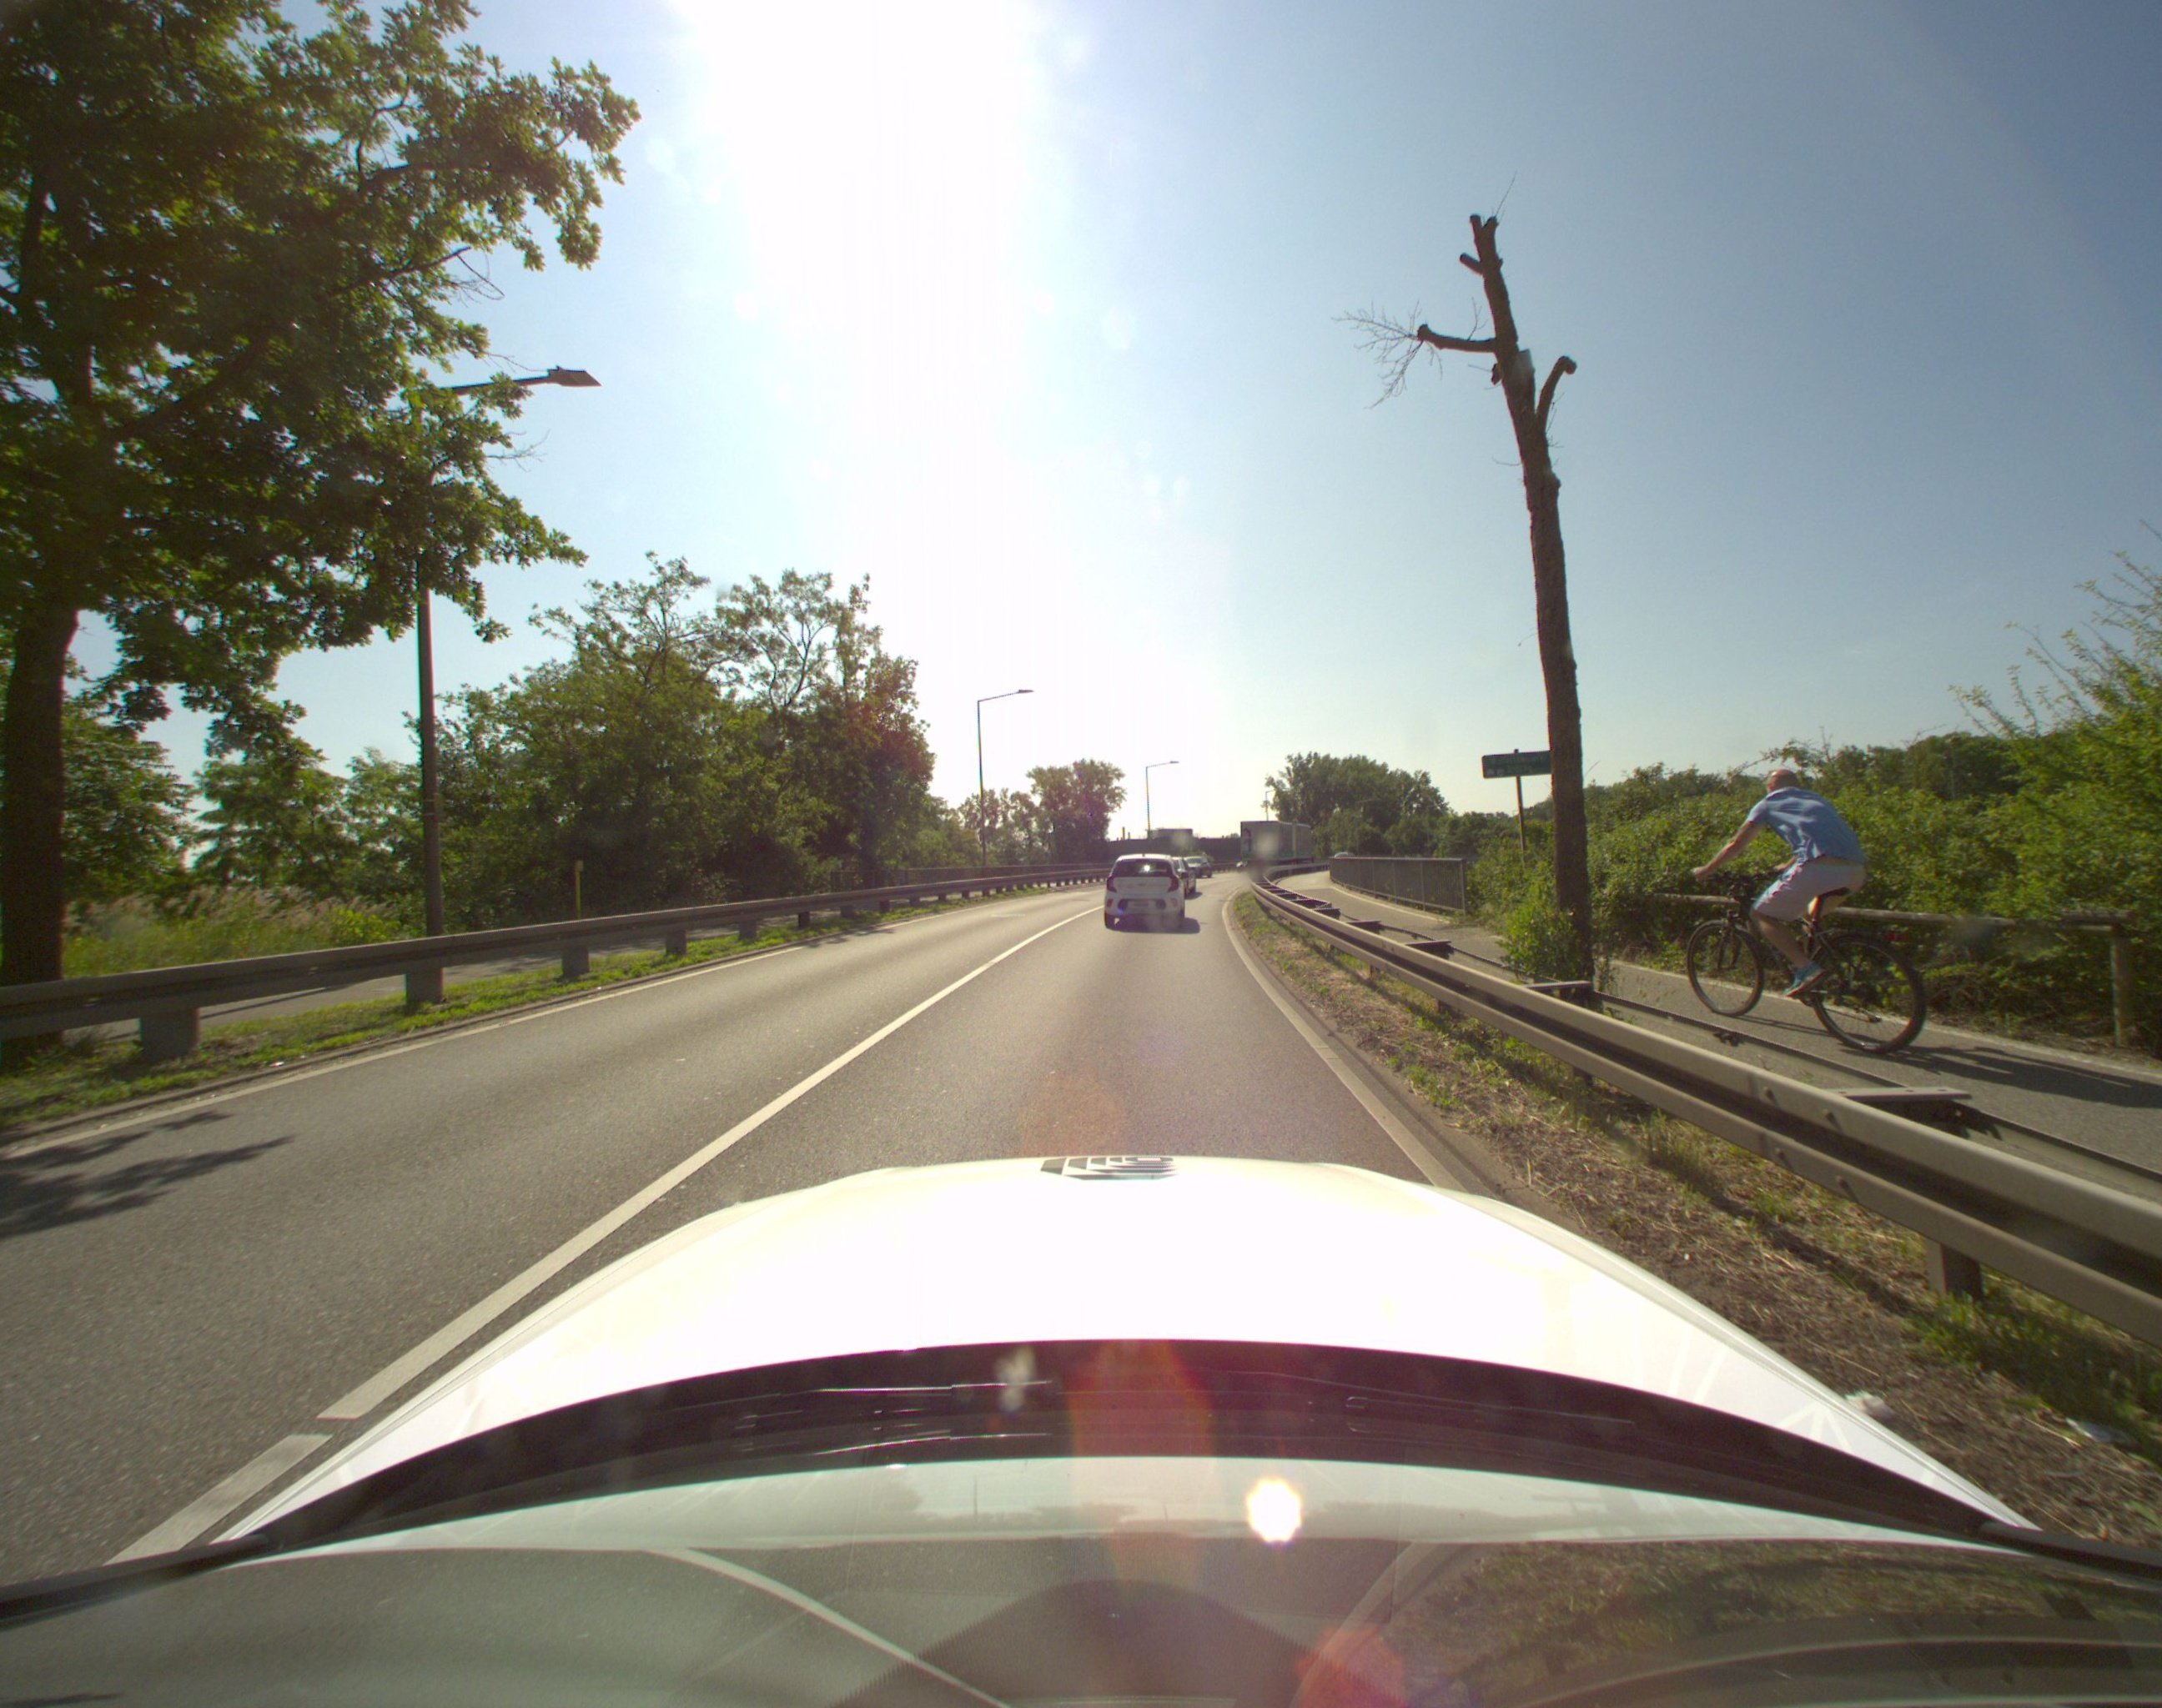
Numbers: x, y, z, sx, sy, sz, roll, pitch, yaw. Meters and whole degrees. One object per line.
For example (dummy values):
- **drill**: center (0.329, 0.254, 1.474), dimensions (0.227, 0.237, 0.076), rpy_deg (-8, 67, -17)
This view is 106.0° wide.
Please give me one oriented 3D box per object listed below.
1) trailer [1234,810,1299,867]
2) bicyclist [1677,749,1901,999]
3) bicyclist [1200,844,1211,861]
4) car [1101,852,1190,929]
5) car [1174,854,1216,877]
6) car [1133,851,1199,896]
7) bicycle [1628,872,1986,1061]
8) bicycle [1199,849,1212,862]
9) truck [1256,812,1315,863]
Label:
- **trailer**: center (13.201, -1.127, 57.387), dimensions (3.196, 3.757, 7.867), rpy_deg (0, 2, 22)
- **bicyclist**: center (4.731, 0.131, 5.505), dimensions (0.657, 1.520, 0.802), rpy_deg (-5, -2, -4)
- **bicyclist**: center (10.908, -0.105, 71.355), dimensions (0.603, 1.439, 1.084), rpy_deg (-4, -2, 22)
- **car**: center (1.544, 0.714, 18.174), dimensions (1.692, 1.494, 4.010), rpy_deg (0, 0, 9)
- **car**: center (7.492, 0.720, 53.121), dimensions (1.702, 1.398, 4.205), rpy_deg (-1, 0, 22)
- **car**: center (3.222, 0.656, 29.918), dimensions (1.926, 1.486, 4.915), rpy_deg (-1, 0, 11)
- **bicycle**: center (4.789, 0.662, 5.598), dimensions (0.700, 1.020, 1.844), rpy_deg (-5, -1, -2)
- **bicycle**: center (10.924, 0.137, 71.349), dimensions (0.606, 1.135, 2.160), rpy_deg (-5, -2, 22)
- **truck**: center (16.360, -1.348, 64.713), dimensions (3.231, 3.757, 8.417), rpy_deg (0, 2, 23)
